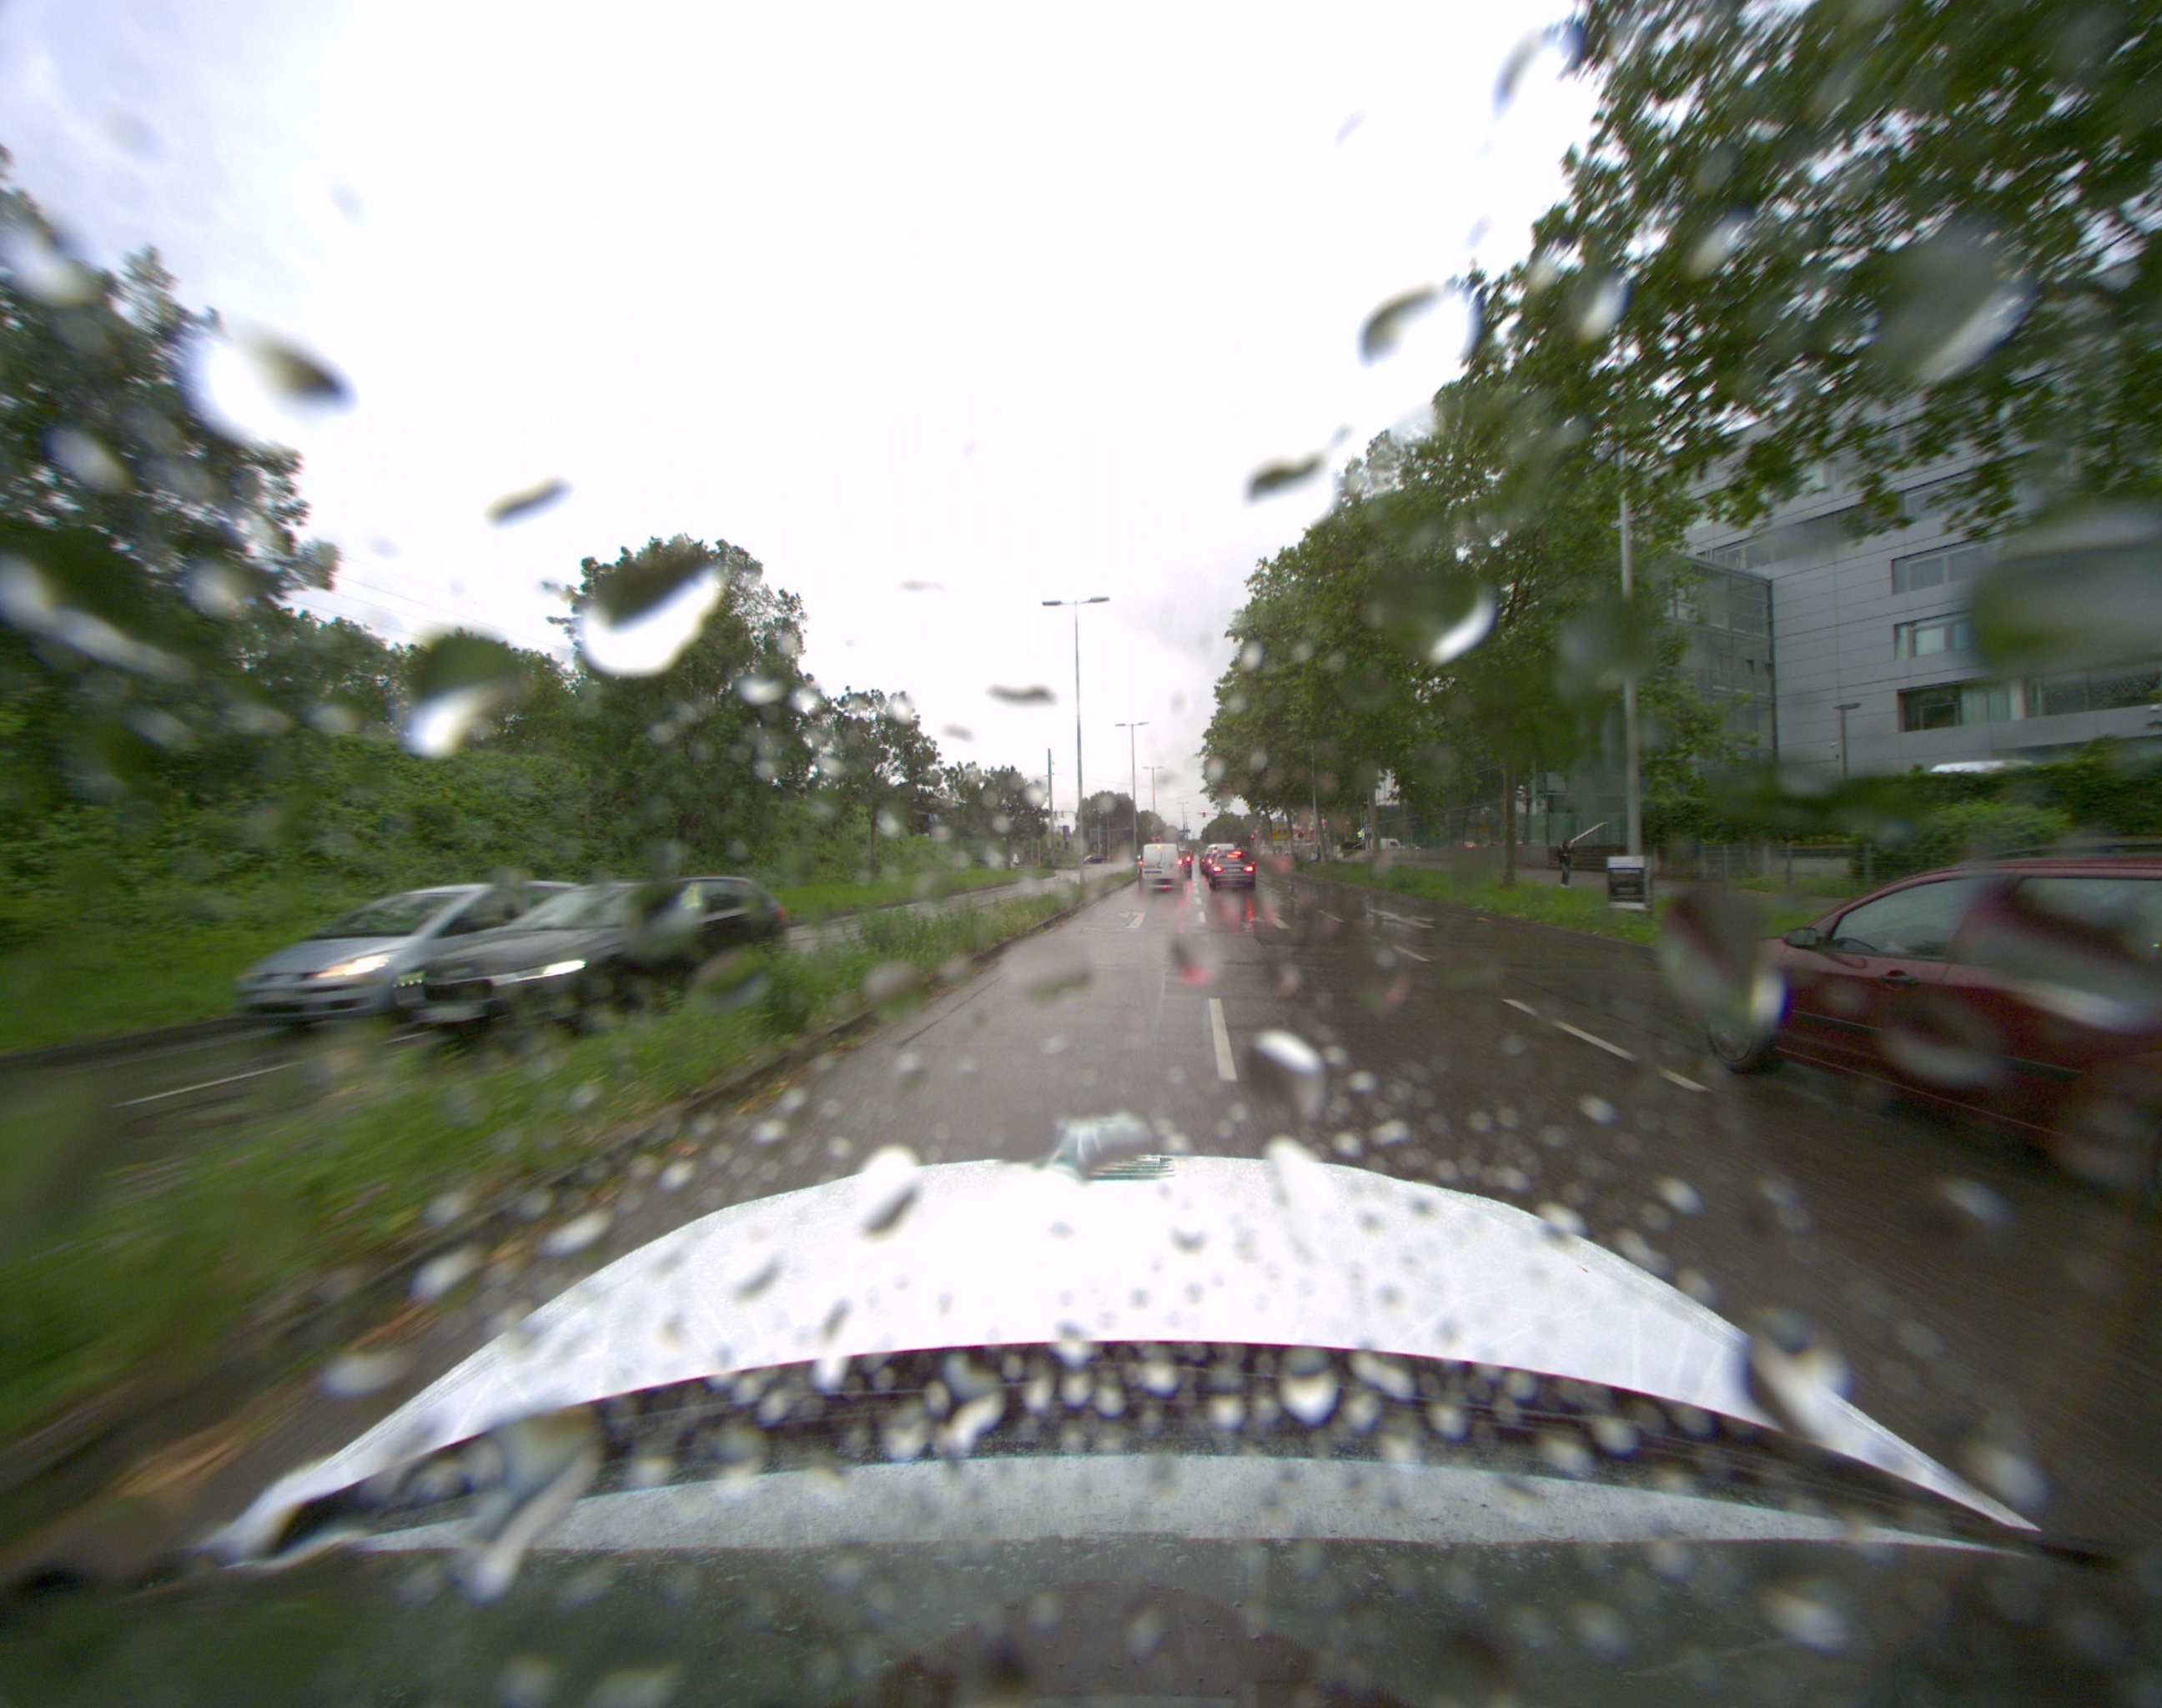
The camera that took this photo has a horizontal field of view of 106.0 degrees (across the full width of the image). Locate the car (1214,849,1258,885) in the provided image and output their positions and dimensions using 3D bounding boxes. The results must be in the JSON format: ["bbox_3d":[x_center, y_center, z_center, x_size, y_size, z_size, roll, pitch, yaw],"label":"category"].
[{"bbox_3d":[7.368,0.598,38.930,1.700,1.549,4.007,-1,1,6],"label":"car"}]

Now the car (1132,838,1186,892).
[{"bbox_3d":[3.178,0.472,32.916,1.983,2.014,4.006,-1,-2,6],"label":"car"}]

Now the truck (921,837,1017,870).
[{"bbox_3d":[-12.129,0.010,88.715,10.170,3.452,2.633,0,-2,-30],"label":"truck"}]

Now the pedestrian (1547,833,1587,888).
[{"bbox_3d":[16.162,0.207,27.103,0.661,1.762,1.076,-1,0,2],"label":"pedestrian"}]

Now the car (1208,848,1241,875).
[{"bbox_3d":[8.235,0.421,47.009,1.702,1.445,4.009,-1,0,8],"label":"car"}]

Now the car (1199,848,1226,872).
[{"bbox_3d":[8.761,0.370,54.442,1.702,1.445,4.009,-1,0,8],"label":"car"}]

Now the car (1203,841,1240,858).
[{"bbox_3d":[22.857,-0.675,132.148,6.036,2.744,1.981,0,-2,-29],"label":"car"}]

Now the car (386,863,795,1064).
[{"bbox_3d":[-4.932,0.958,9.069,1.713,1.618,4.349,-1,0,3],"label":"car"}]

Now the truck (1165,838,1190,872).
[{"bbox_3d":[7.228,0.081,61.089,1.747,2.466,4.007,-1,0,6],"label":"truck"}]

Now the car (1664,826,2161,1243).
[{"bbox_3d":[5.000,0.661,3.898,1.829,1.537,4.119,-1,0,7],"label":"car"}]

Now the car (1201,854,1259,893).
[{"bbox_3d":[5.931,0.754,32.736,1.983,1.452,4.007,-1,0,6],"label":"car"}]

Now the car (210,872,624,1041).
[{"bbox_3d":[-7.878,1.098,10.221,1.686,1.618,3.856,-1,0,8],"label":"car"}]
